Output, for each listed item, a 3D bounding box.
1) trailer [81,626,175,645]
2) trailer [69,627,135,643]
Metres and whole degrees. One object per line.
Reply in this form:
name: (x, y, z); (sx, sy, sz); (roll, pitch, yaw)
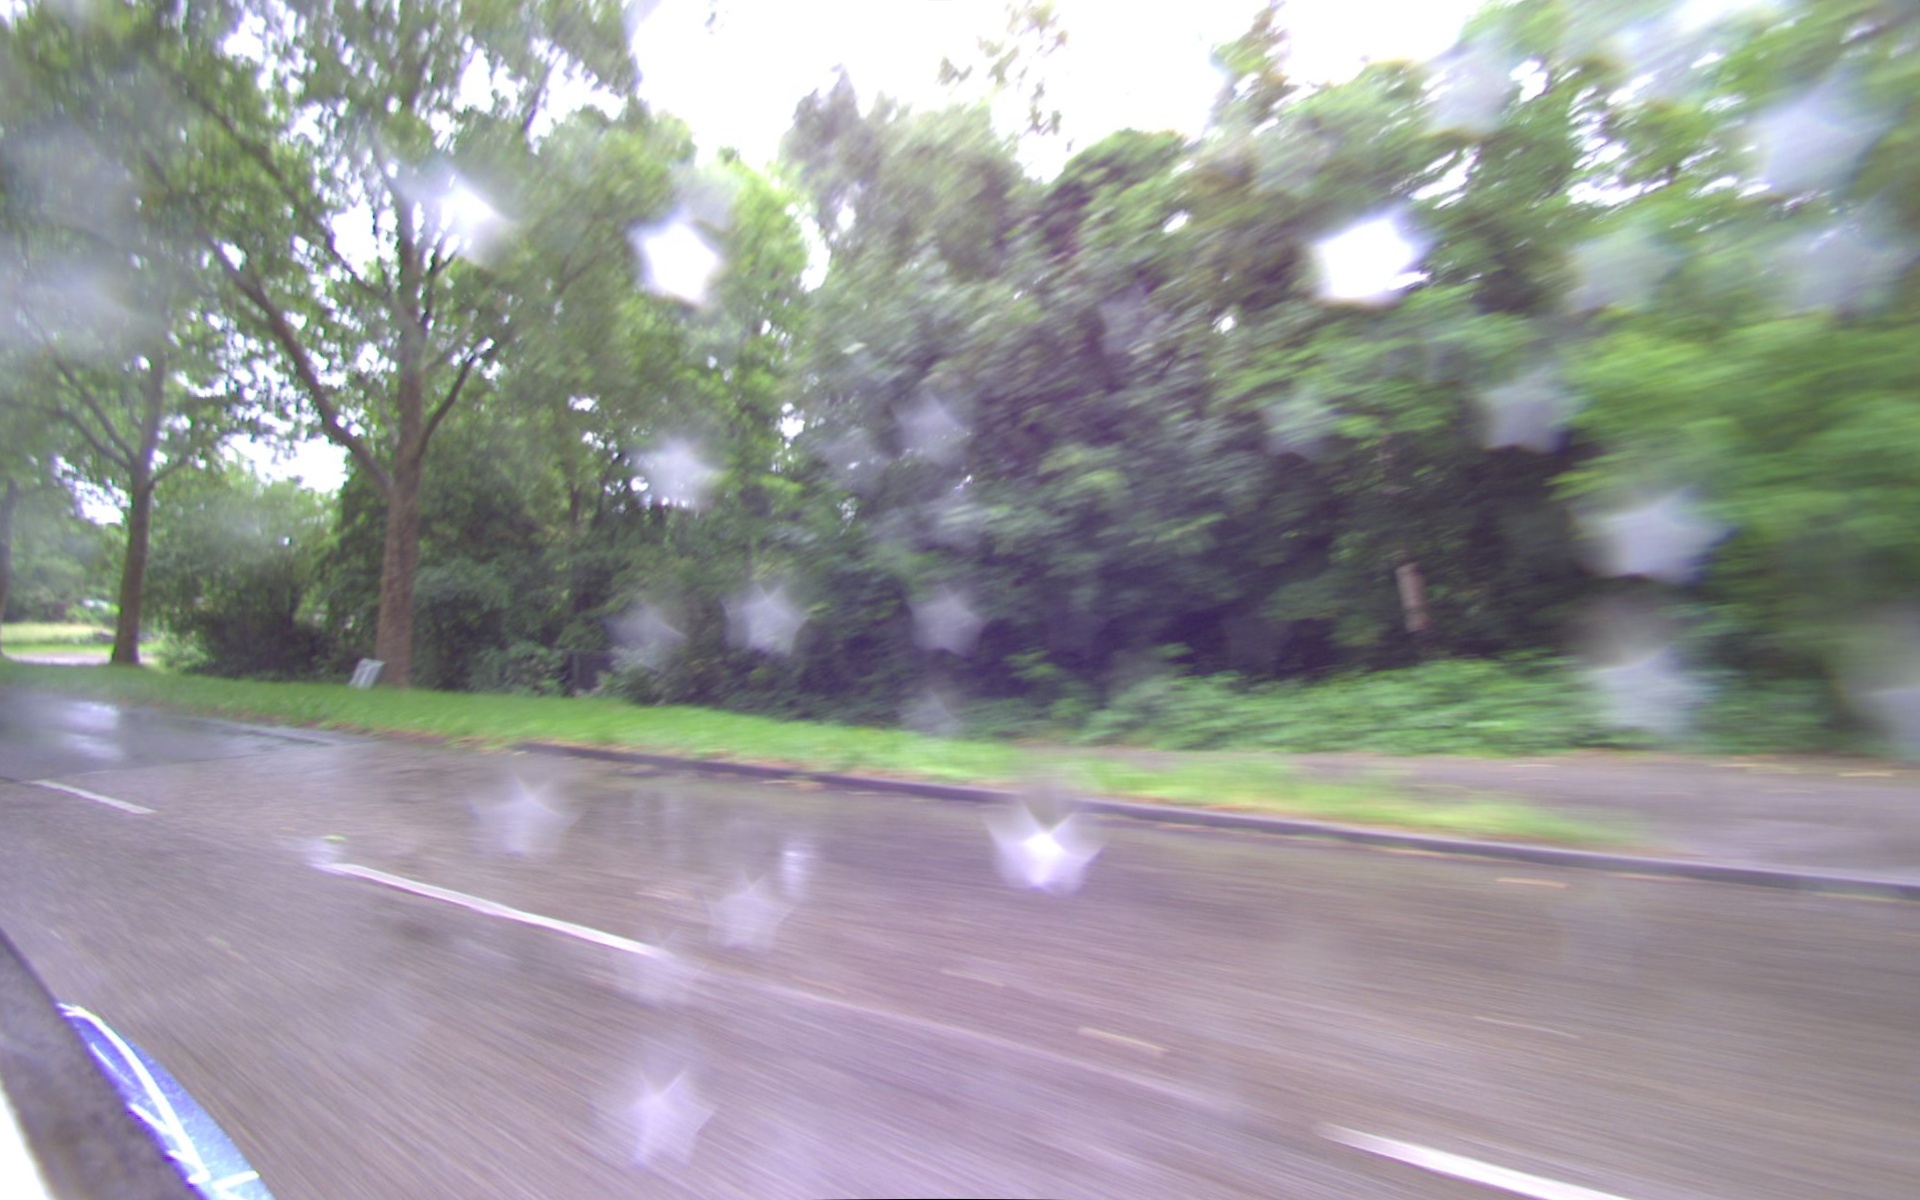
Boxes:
trailer: (-54.118, 2.278, 65.900); (2.377, 1.040, 4.278); (1, 0, 35)
trailer: (-57.100, 2.335, 67.355); (1.766, 0.952, 3.047); (1, 0, 37)
